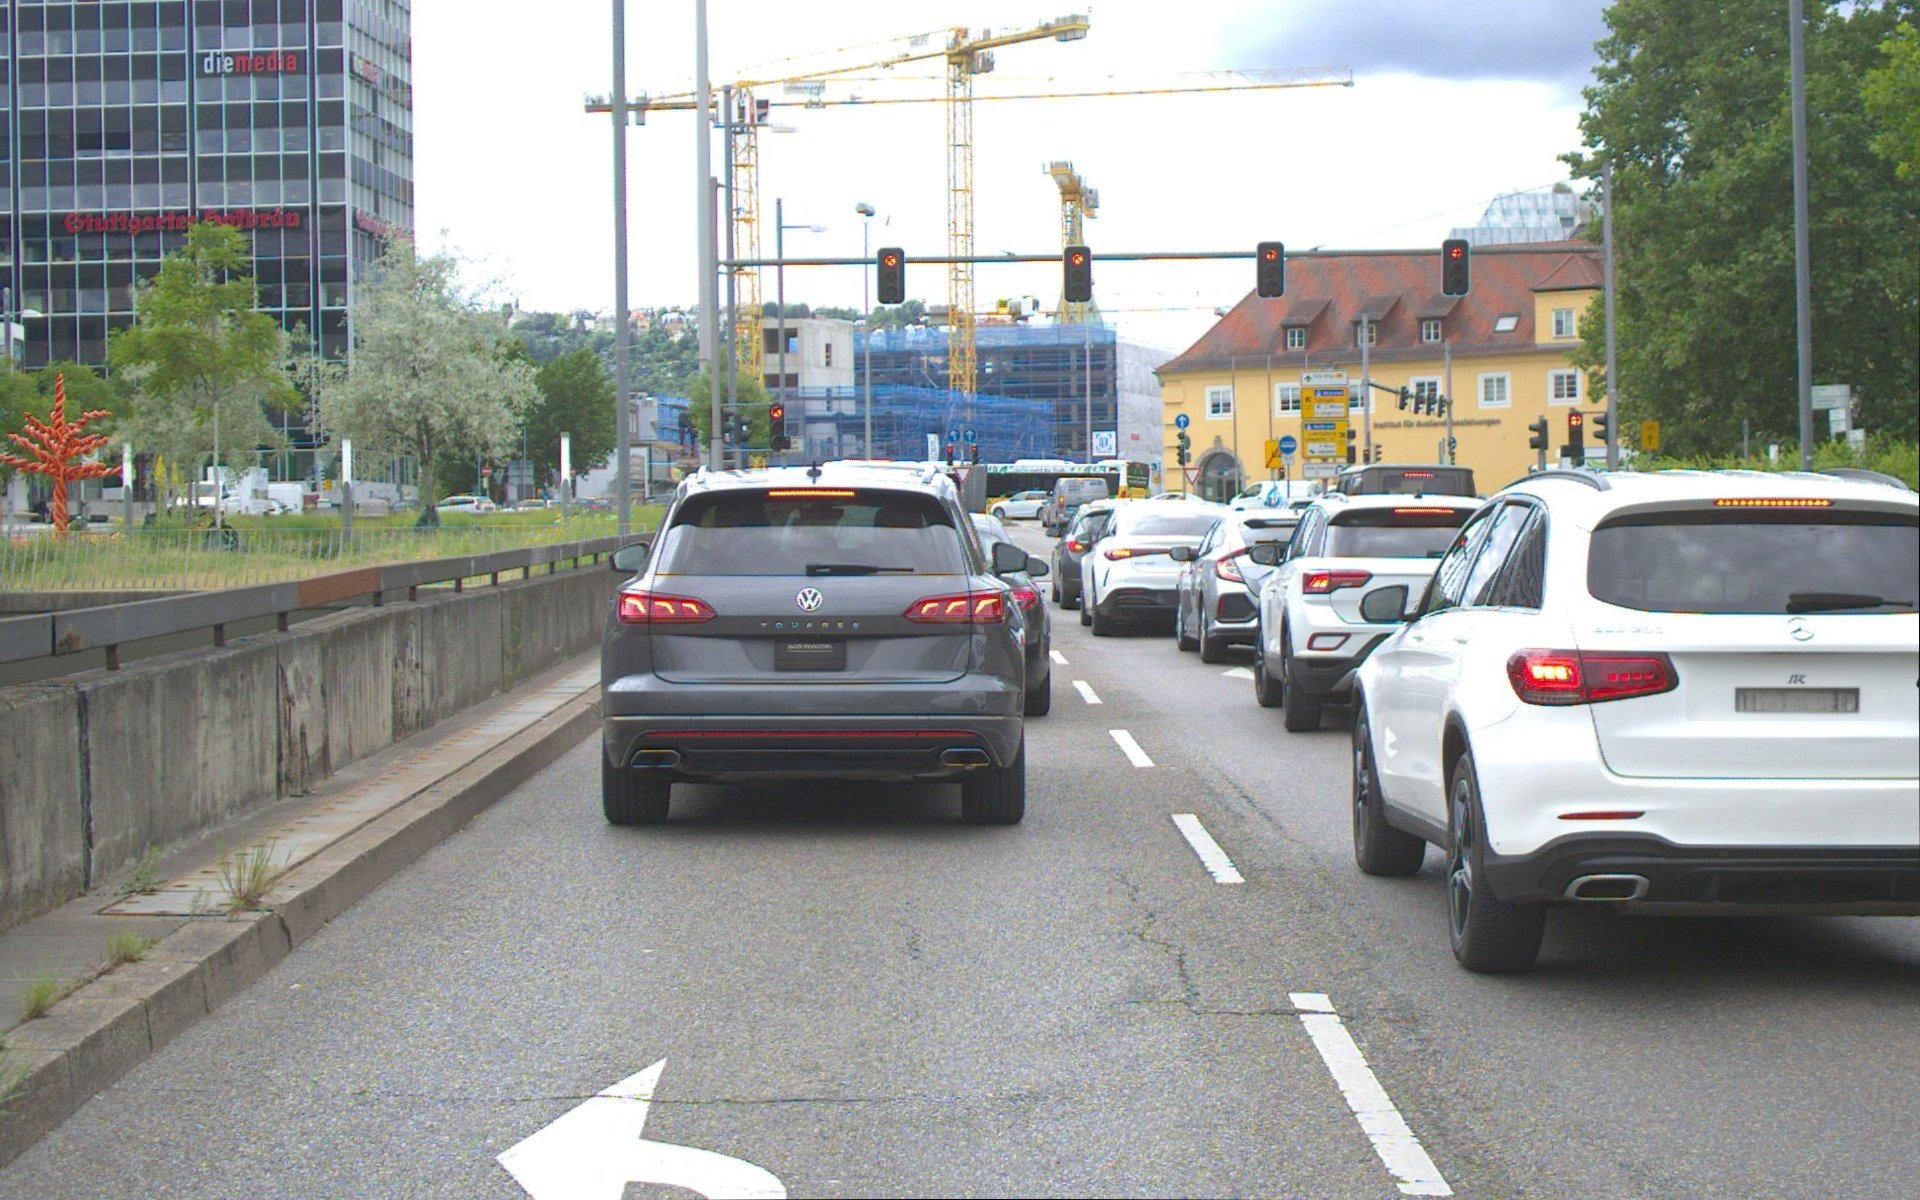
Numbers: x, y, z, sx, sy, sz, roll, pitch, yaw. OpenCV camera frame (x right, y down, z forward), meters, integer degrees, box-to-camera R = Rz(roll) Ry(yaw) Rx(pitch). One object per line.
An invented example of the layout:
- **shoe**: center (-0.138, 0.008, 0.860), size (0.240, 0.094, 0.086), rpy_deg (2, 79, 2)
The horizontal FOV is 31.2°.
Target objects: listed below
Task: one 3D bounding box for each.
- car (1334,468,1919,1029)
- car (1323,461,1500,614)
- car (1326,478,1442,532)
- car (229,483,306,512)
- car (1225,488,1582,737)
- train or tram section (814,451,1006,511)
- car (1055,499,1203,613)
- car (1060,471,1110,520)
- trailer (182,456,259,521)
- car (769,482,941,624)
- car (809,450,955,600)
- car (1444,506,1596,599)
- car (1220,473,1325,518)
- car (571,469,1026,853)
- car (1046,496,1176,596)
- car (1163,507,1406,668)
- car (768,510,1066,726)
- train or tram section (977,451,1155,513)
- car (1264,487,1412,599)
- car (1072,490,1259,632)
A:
- **car**: center (2.524, 0.374, 12.334), size (1.926, 1.648, 4.490), rpy_deg (0, 2, 1)
- **car**: center (6.266, -0.875, 48.083), size (1.910, 2.007, 4.012), rpy_deg (1, 1, 0)
- **car**: center (16.605, -3.729, 134.664), size (3.995, 2.007, 1.996), rpy_deg (2, 0, 37)
- **car**: center (-40.180, -5.946, 199.385), size (3.991, 1.563, 1.835), rpy_deg (2, 0, 21)
- **car**: center (2.950, 0.034, 23.787), size (1.926, 1.545, 4.490), rpy_deg (0, 1, 1)
- **train or tram section**: center (-2.652, -6.197, 178.553), size (10.417, 2.999, 2.591), rpy_deg (2, 0, 35)
- **car**: center (2.330, -0.636, 48.329), size (1.926, 1.524, 4.048), rpy_deg (0, 1, 1)
- **car**: center (4.406, -3.700, 121.896), size (1.619, 1.622, 4.000), rpy_deg (1, 0, 0)
- **trailer**: center (-30.743, -4.678, 142.999), size (2.037, 2.595, 5.509), rpy_deg (1, 2, -1)
- **car**: center (-1.239, -0.597, 41.607), size (1.951, 1.594, 3.931), rpy_deg (1, 2, -1)
- **car**: center (-1.105, -1.088, 49.107), size (1.951, 2.011, 3.931), rpy_deg (1, 2, -1)
- **car**: center (9.149, -0.793, 56.375), size (1.757, 1.442, 3.634), rpy_deg (1, 1, -2)
- **car**: center (14.709, -4.924, 162.014), size (4.454, 2.007, 1.996), rpy_deg (2, 0, 34)
- **car**: center (-0.731, 0.208, 16.871), size (1.951, 1.645, 4.001), rpy_deg (1, 2, -1)
- **car**: center (2.364, -0.869, 54.614), size (1.926, 1.524, 4.048), rpy_deg (0, 1, 1)
- **car**: center (3.015, -0.154, 32.790), size (1.926, 1.427, 4.490), rpy_deg (0, 1, 1)
- **car**: center (-0.318, 0.069, 24.846), size (1.951, 1.379, 3.931), rpy_deg (1, 2, -1)
- **train or tram section**: center (5.276, -5.952, 172.987), size (8.940, 2.999, 2.591), rpy_deg (2, 0, 35)
- **car**: center (6.036, -0.925, 55.278), size (1.910, 1.691, 4.012), rpy_deg (1, 1, 0)
- **car**: center (2.297, -0.465, 39.509), size (1.926, 1.524, 4.490), rpy_deg (0, 1, 1)
